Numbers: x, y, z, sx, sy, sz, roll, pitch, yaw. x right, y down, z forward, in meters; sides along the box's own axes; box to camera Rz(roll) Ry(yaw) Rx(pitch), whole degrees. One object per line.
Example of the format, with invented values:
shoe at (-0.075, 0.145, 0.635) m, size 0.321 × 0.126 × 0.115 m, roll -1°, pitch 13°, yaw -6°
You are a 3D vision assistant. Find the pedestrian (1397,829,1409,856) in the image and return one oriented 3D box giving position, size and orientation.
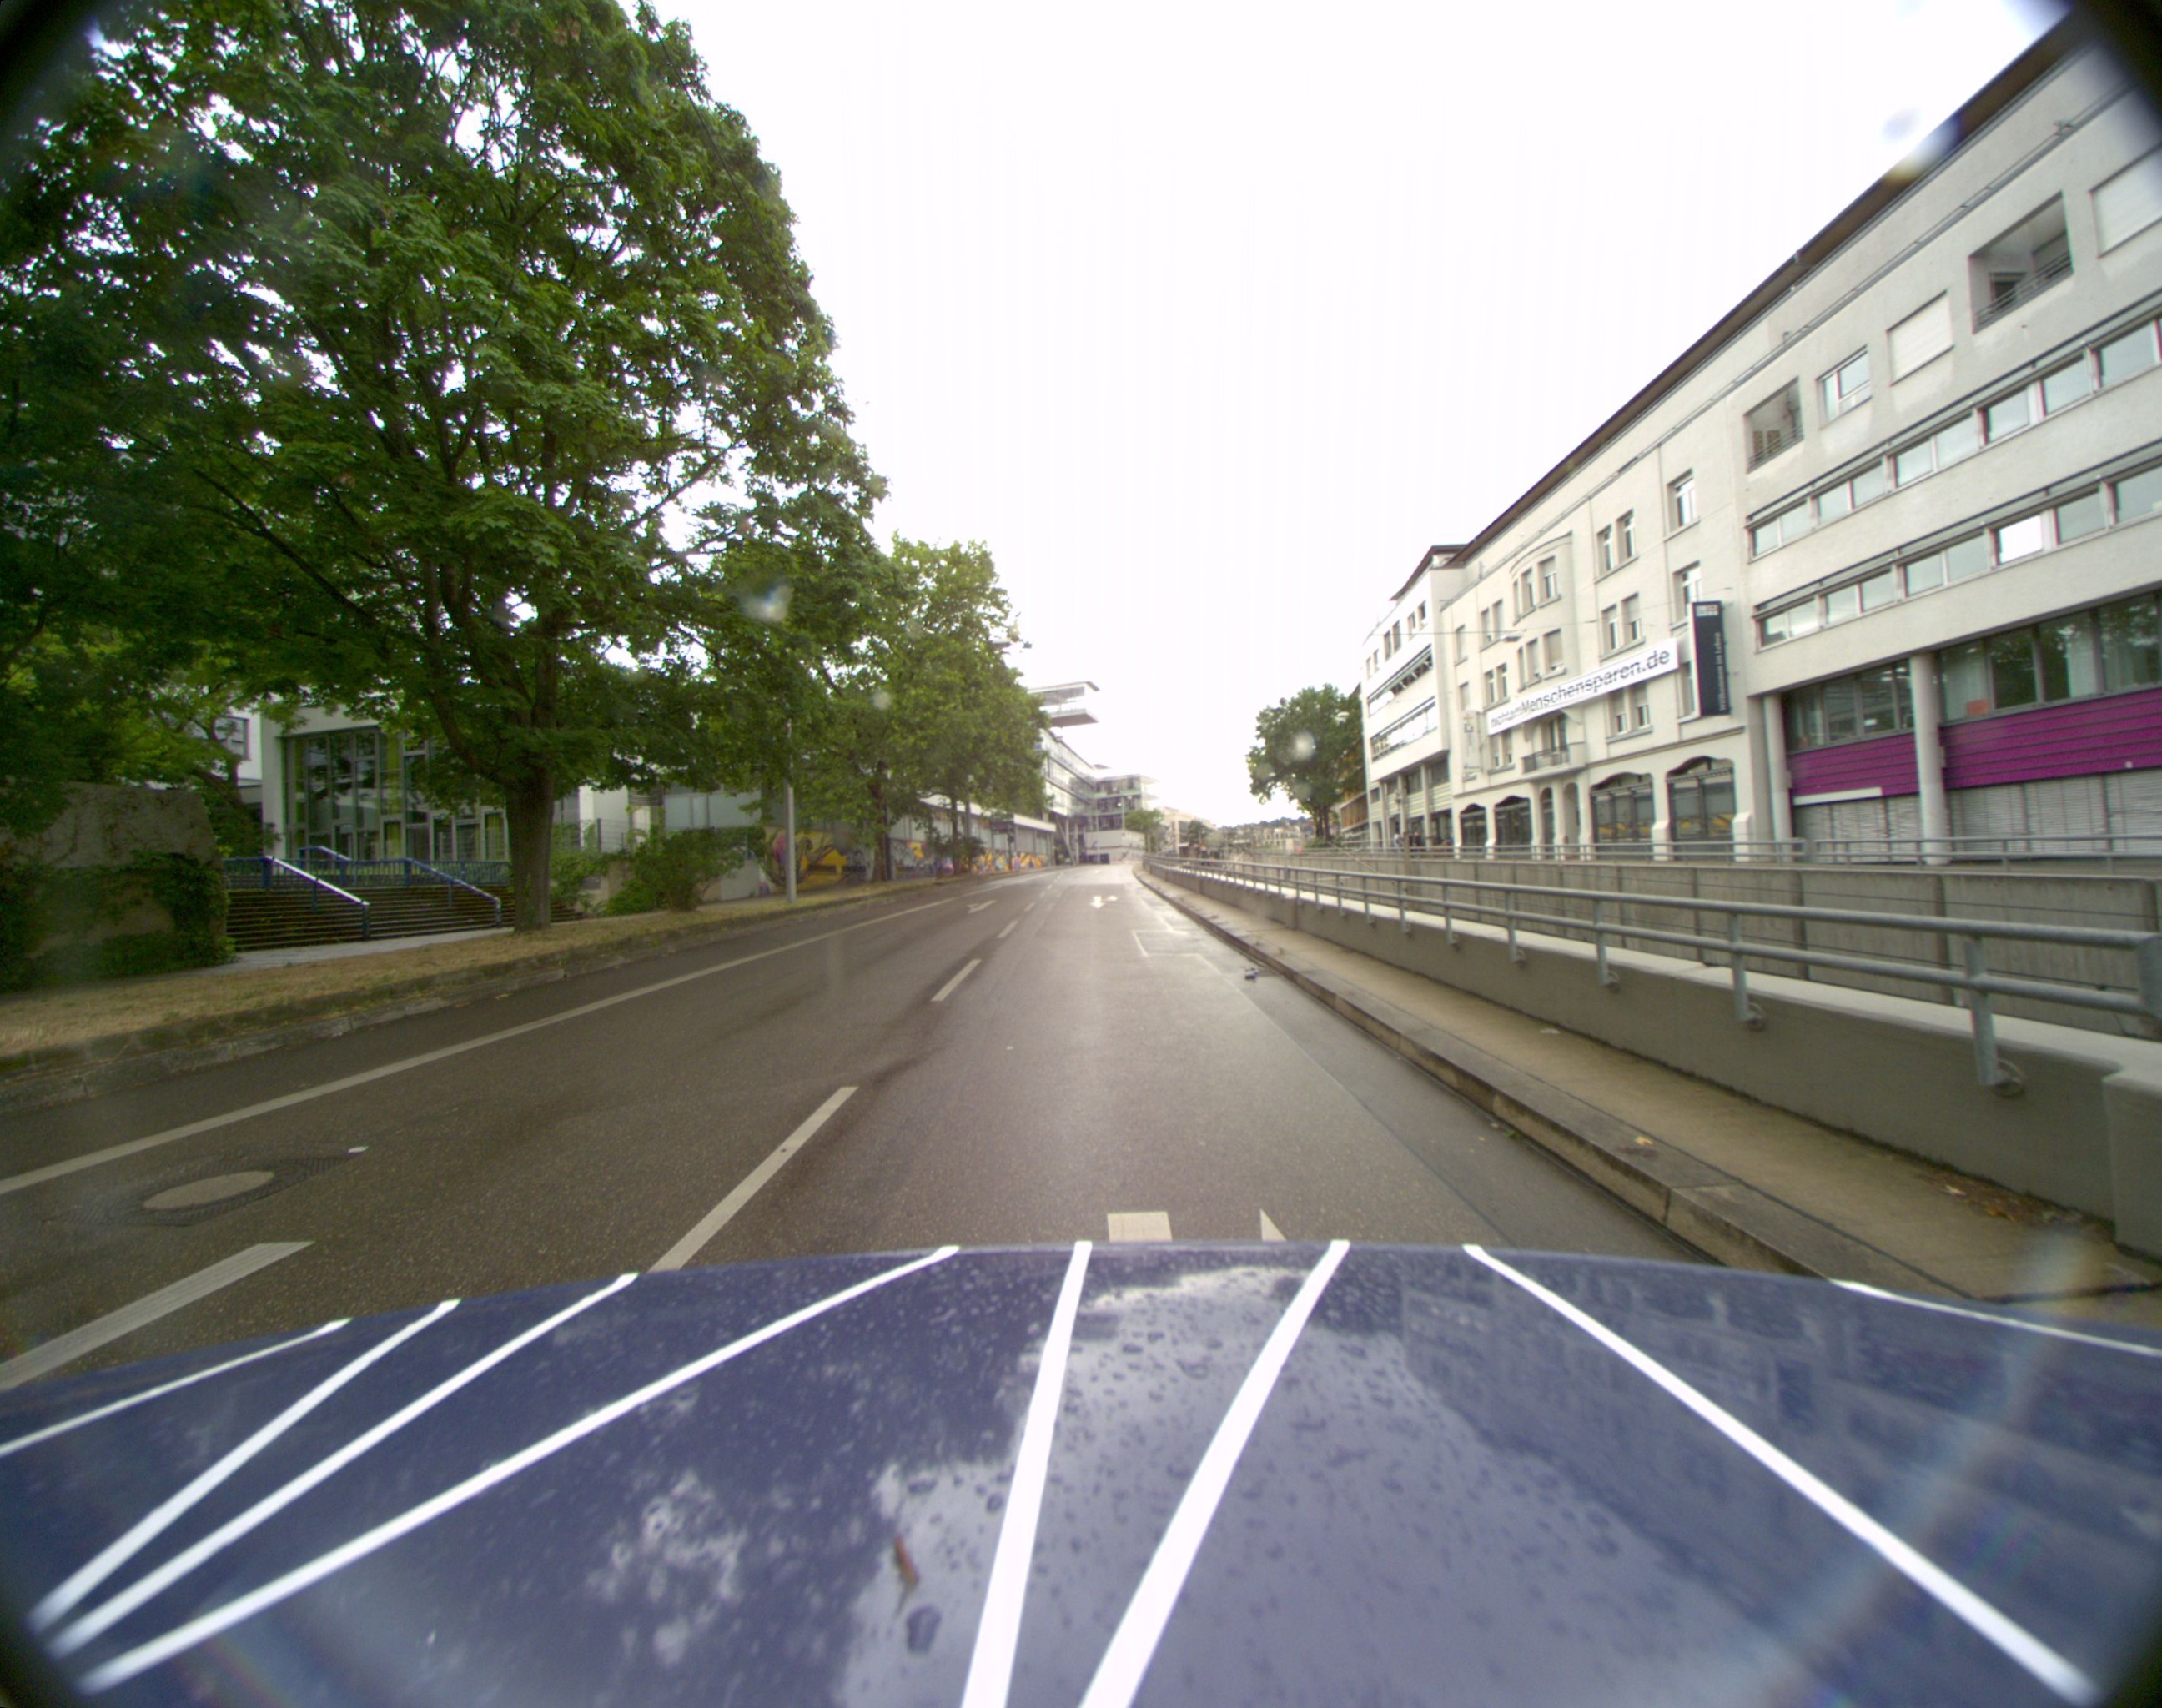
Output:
pedestrian at (21.749, -0.769, 51.331) m, size 0.469 × 1.792 × 0.548 m, roll -4°, pitch 1°, yaw 8°

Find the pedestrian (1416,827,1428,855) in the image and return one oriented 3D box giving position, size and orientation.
pedestrian at (22.568, -0.868, 50.296) m, size 0.470 × 1.792 × 0.547 m, roll -4°, pitch 1°, yaw 3°

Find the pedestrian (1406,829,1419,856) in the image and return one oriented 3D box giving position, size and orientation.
pedestrian at (22.477, -0.793, 51.558) m, size 0.547 × 1.792 × 0.470 m, roll -4°, pitch 1°, yaw -7°
